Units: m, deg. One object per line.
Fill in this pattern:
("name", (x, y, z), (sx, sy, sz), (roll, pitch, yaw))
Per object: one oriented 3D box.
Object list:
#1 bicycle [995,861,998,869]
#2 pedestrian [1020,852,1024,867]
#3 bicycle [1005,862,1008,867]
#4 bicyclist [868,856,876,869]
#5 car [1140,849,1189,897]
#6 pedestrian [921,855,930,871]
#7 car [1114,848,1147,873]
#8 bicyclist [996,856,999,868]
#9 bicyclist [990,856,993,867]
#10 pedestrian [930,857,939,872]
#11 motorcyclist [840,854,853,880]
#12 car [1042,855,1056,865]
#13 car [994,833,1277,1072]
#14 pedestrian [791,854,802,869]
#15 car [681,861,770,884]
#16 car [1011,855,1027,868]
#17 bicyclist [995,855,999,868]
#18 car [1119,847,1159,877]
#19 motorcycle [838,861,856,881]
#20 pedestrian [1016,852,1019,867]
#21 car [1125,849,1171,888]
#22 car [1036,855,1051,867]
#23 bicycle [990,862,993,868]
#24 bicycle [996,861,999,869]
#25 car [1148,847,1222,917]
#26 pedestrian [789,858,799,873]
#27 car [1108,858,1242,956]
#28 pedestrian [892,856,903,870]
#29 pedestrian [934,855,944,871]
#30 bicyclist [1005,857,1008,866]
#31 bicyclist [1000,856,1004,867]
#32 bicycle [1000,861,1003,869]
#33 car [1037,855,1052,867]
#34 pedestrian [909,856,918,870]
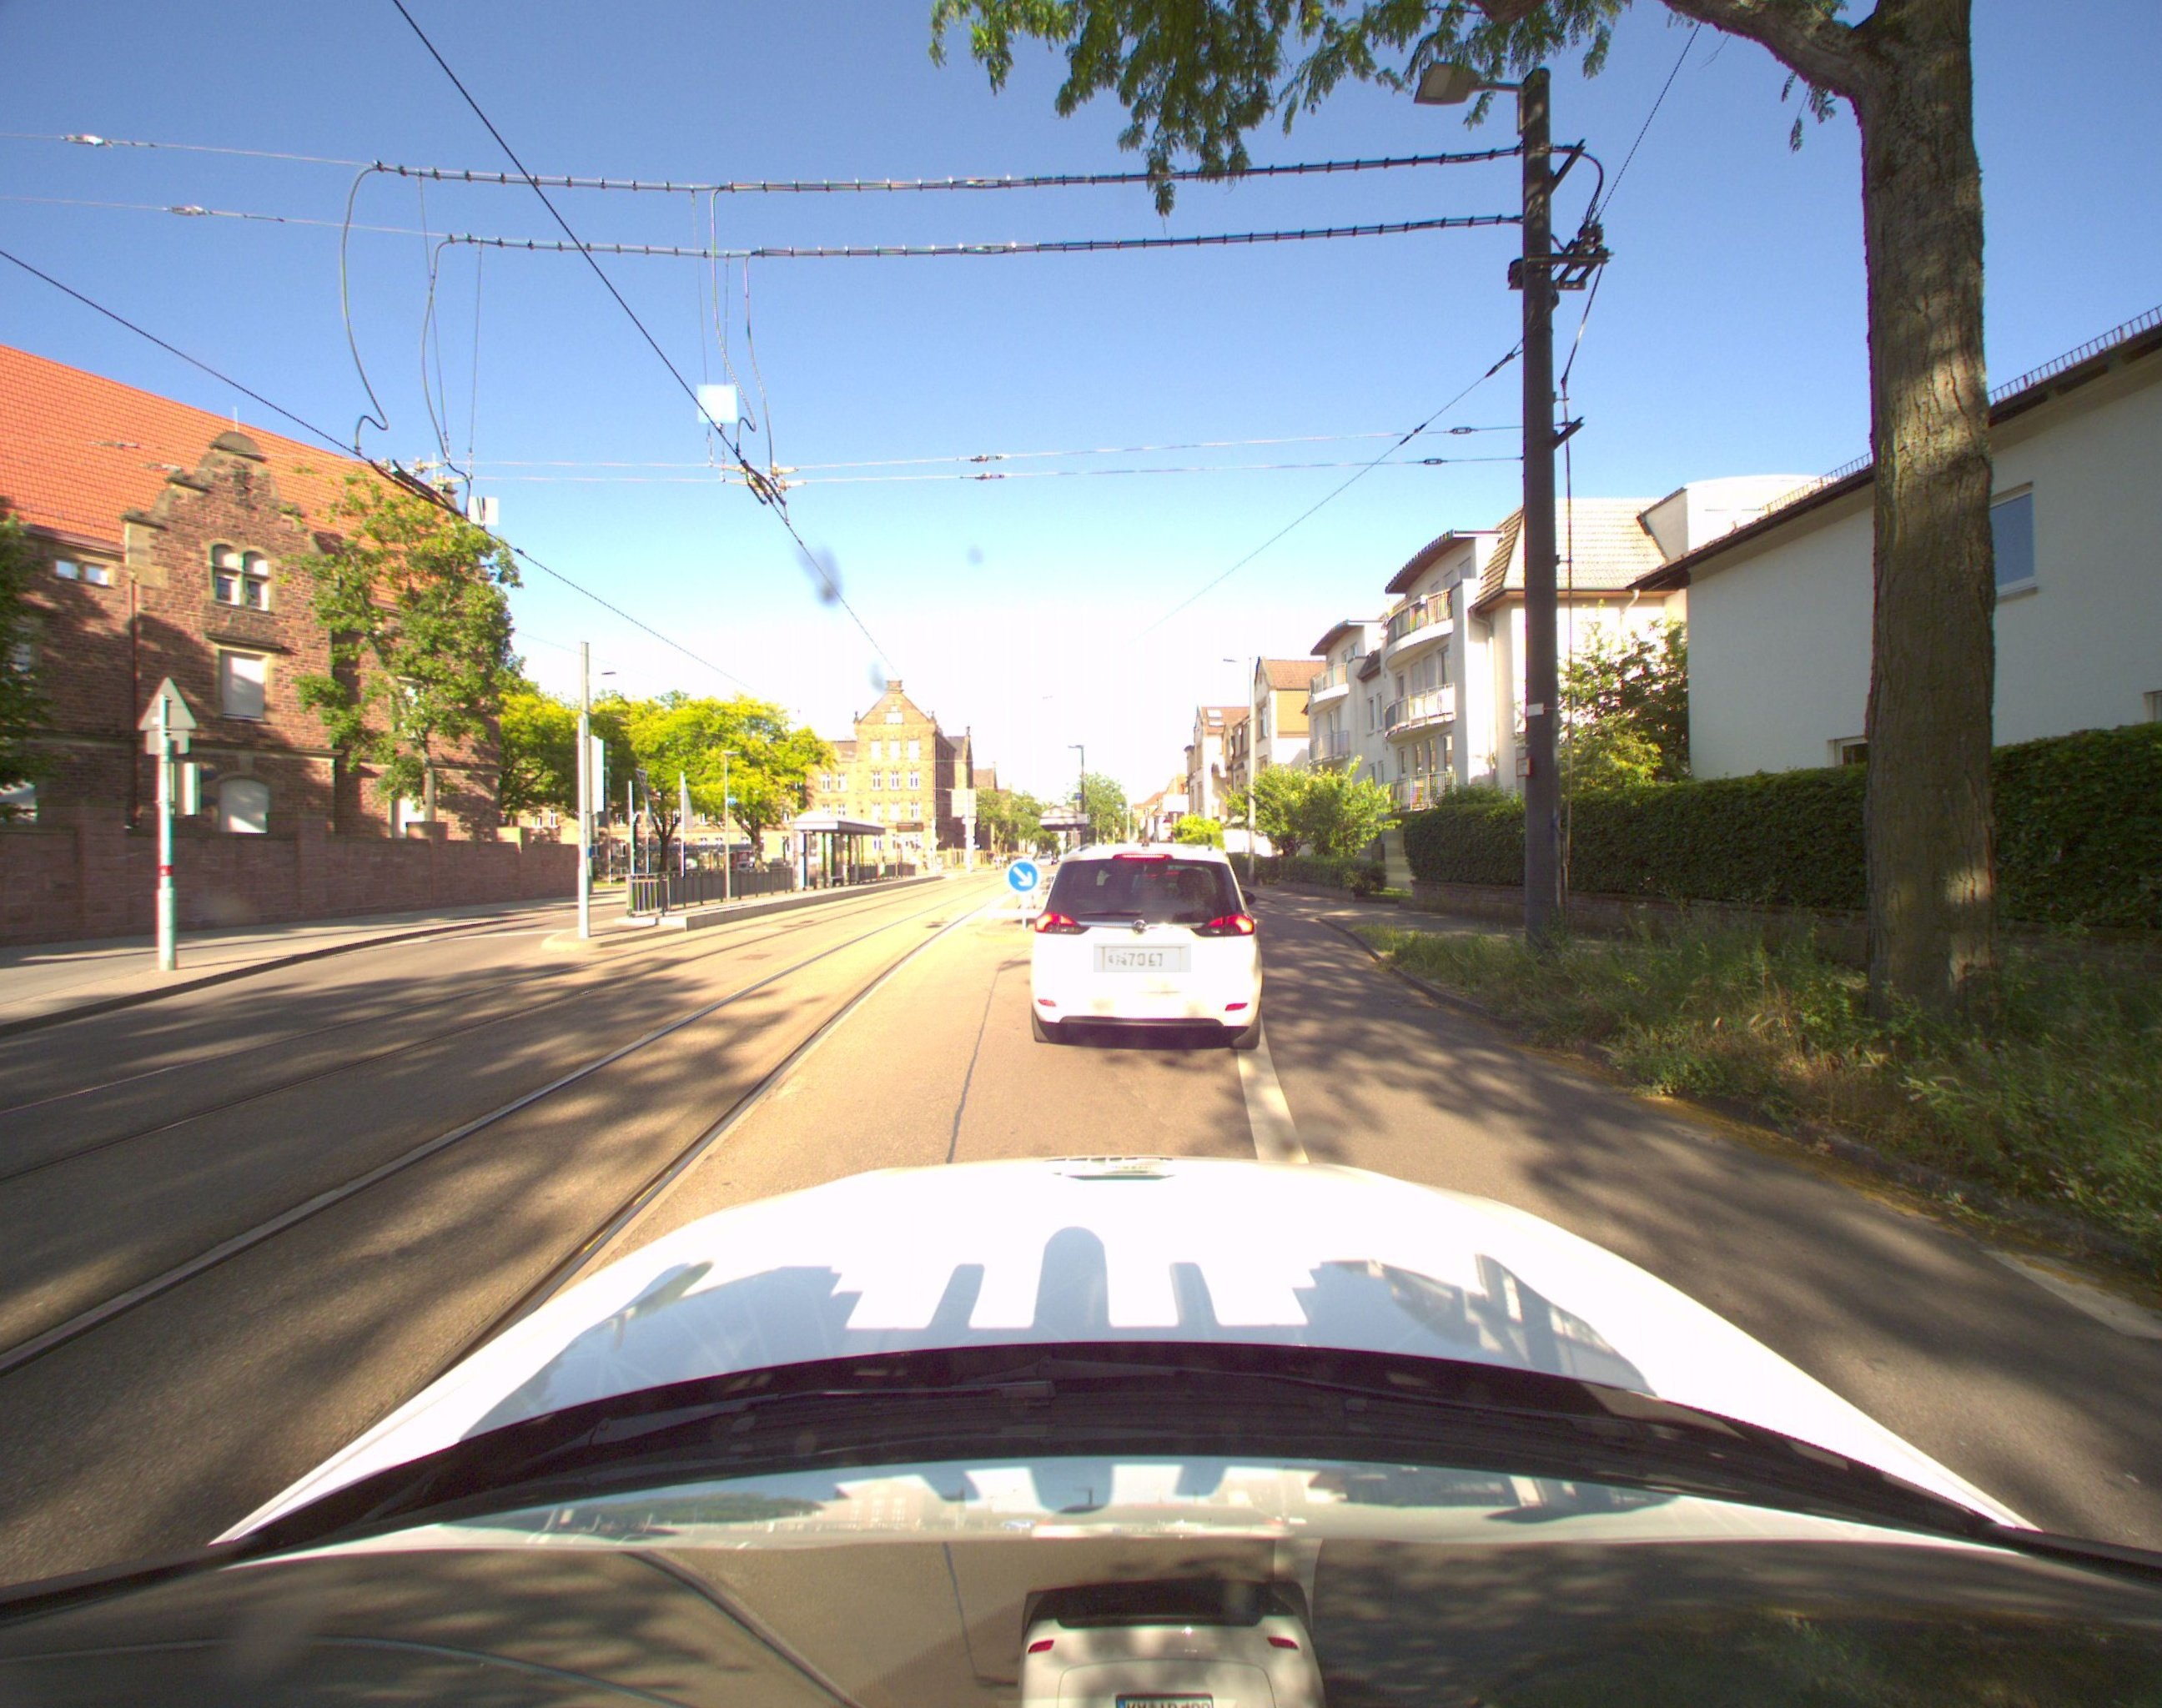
("bicycle", (-10.712, 1.430, 103.529), (0.343, 0.950, 1.160), (0, -1, -1))
("pedestrian", (-8.137, 0.787, 112.660), (0.443, 2.013, 0.495), (-1, 0, -2))
("bicycle", (-10.203, 1.479, 112.108), (0.343, 0.725, 0.996), (0, -1, -1))
("bicyclist", (-24.067, 0.984, 93.883), (0.756, 1.430, 0.516), (0, -1, -1))
("car", (2.950, 0.640, 29.326), (1.630, 1.601, 3.859), (-1, 0, 4))
("pedestrian", (-17.014, 1.007, 89.145), (0.839, 1.691, 1.029), (0, -1, 1))
("car", (3.107, 0.392, 51.849), (1.986, 1.503, 4.002), (-1, 0, 2))
("bicyclist", (-10.977, 0.993, 107.030), (0.443, 1.553, 0.495), (-1, 0, -2))
("bicyclist", (-12.682, 1.075, 115.607), (0.443, 1.553, 0.495), (-1, 0, -2))
("pedestrian", (-17.305, 1.226, 96.063), (0.728, 1.714, 0.710), (-1, -1, 24))
("motorcyclist", (-15.023, 0.835, 52.225), (0.612, 1.621, 0.843), (-1, 0, -3))
("car", (-5.130, 0.924, 130.997), (1.987, 1.629, 4.000), (-1, 0, 0))
("car", (0.652, 0.688, 7.710), (1.982, 1.644, 4.003), (0, 0, 8))
("pedestrian", (-31.244, 0.848, 89.435), (0.928, 1.588, 0.805), (-1, 0, 0))
("car", (-32.956, 1.718, 75.704), (6.927, 1.921, 2.992), (-1, 0, 0))
("car", (-8.189, 0.938, 107.485), (1.989, 1.629, 3.996), (-1, 0, -3))
("bicyclist", (-10.704, 0.963, 103.739), (0.443, 1.553, 0.742), (-1, 0, -2))
("car", (3.133, 0.420, 44.382), (1.986, 1.503, 4.002), (-1, 0, 2))
("motorcycle", (-15.024, 1.073, 52.324), (0.610, 1.198, 2.073), (-1, 0, -2))
("pedestrian", (-8.768, 0.789, 112.345), (0.443, 2.013, 0.495), (-1, 0, -2))
("car", (2.936, 0.617, 36.256), (1.824, 1.579, 4.012), (-1, 0, 2))
("car", (-5.294, 0.967, 114.750), (1.989, 1.629, 3.996), (-1, 0, -3))
("bicycle", (-12.676, 1.543, 115.641), (0.343, 0.950, 0.996), (0, -1, -1))
("bicycle", (-11.001, 1.461, 107.071), (0.343, 0.950, 0.996), (0, -1, -1))
("car", (2.580, 0.643, 20.900), (1.630, 1.601, 3.859), (-1, 0, 4))
("pedestrian", (-31.377, 1.269, 89.080), (0.932, 1.588, 0.802), (0, 0, -11))
("car", (1.539, 0.795, 14.071), (1.944, 1.397, 4.005), (-1, 0, 4))
("pedestrian", (-20.155, 1.003, 89.296), (0.940, 1.588, 0.795), (0, -1, -42))
("pedestrian", (-15.608, 0.992, 89.524), (0.892, 1.684, 1.029), (0, -1, 1))
("bicyclist", (-10.212, 1.014, 112.107), (0.358, 1.303, 0.397), (-1, 0, -2))
("bicyclist", (-10.660, 1.012, 109.608), (0.443, 1.553, 0.495), (-1, 0, -2))
("bicycle", (-10.659, 1.479, 109.613), (0.343, 0.950, 0.996), (0, -1, -1))
("car", (-4.813, 0.906, 107.627), (1.989, 1.629, 3.996), (-1, 0, -3))
("pedestrian", (-18.381, 0.991, 89.512), (0.799, 1.588, 0.934), (0, -1, -1))
